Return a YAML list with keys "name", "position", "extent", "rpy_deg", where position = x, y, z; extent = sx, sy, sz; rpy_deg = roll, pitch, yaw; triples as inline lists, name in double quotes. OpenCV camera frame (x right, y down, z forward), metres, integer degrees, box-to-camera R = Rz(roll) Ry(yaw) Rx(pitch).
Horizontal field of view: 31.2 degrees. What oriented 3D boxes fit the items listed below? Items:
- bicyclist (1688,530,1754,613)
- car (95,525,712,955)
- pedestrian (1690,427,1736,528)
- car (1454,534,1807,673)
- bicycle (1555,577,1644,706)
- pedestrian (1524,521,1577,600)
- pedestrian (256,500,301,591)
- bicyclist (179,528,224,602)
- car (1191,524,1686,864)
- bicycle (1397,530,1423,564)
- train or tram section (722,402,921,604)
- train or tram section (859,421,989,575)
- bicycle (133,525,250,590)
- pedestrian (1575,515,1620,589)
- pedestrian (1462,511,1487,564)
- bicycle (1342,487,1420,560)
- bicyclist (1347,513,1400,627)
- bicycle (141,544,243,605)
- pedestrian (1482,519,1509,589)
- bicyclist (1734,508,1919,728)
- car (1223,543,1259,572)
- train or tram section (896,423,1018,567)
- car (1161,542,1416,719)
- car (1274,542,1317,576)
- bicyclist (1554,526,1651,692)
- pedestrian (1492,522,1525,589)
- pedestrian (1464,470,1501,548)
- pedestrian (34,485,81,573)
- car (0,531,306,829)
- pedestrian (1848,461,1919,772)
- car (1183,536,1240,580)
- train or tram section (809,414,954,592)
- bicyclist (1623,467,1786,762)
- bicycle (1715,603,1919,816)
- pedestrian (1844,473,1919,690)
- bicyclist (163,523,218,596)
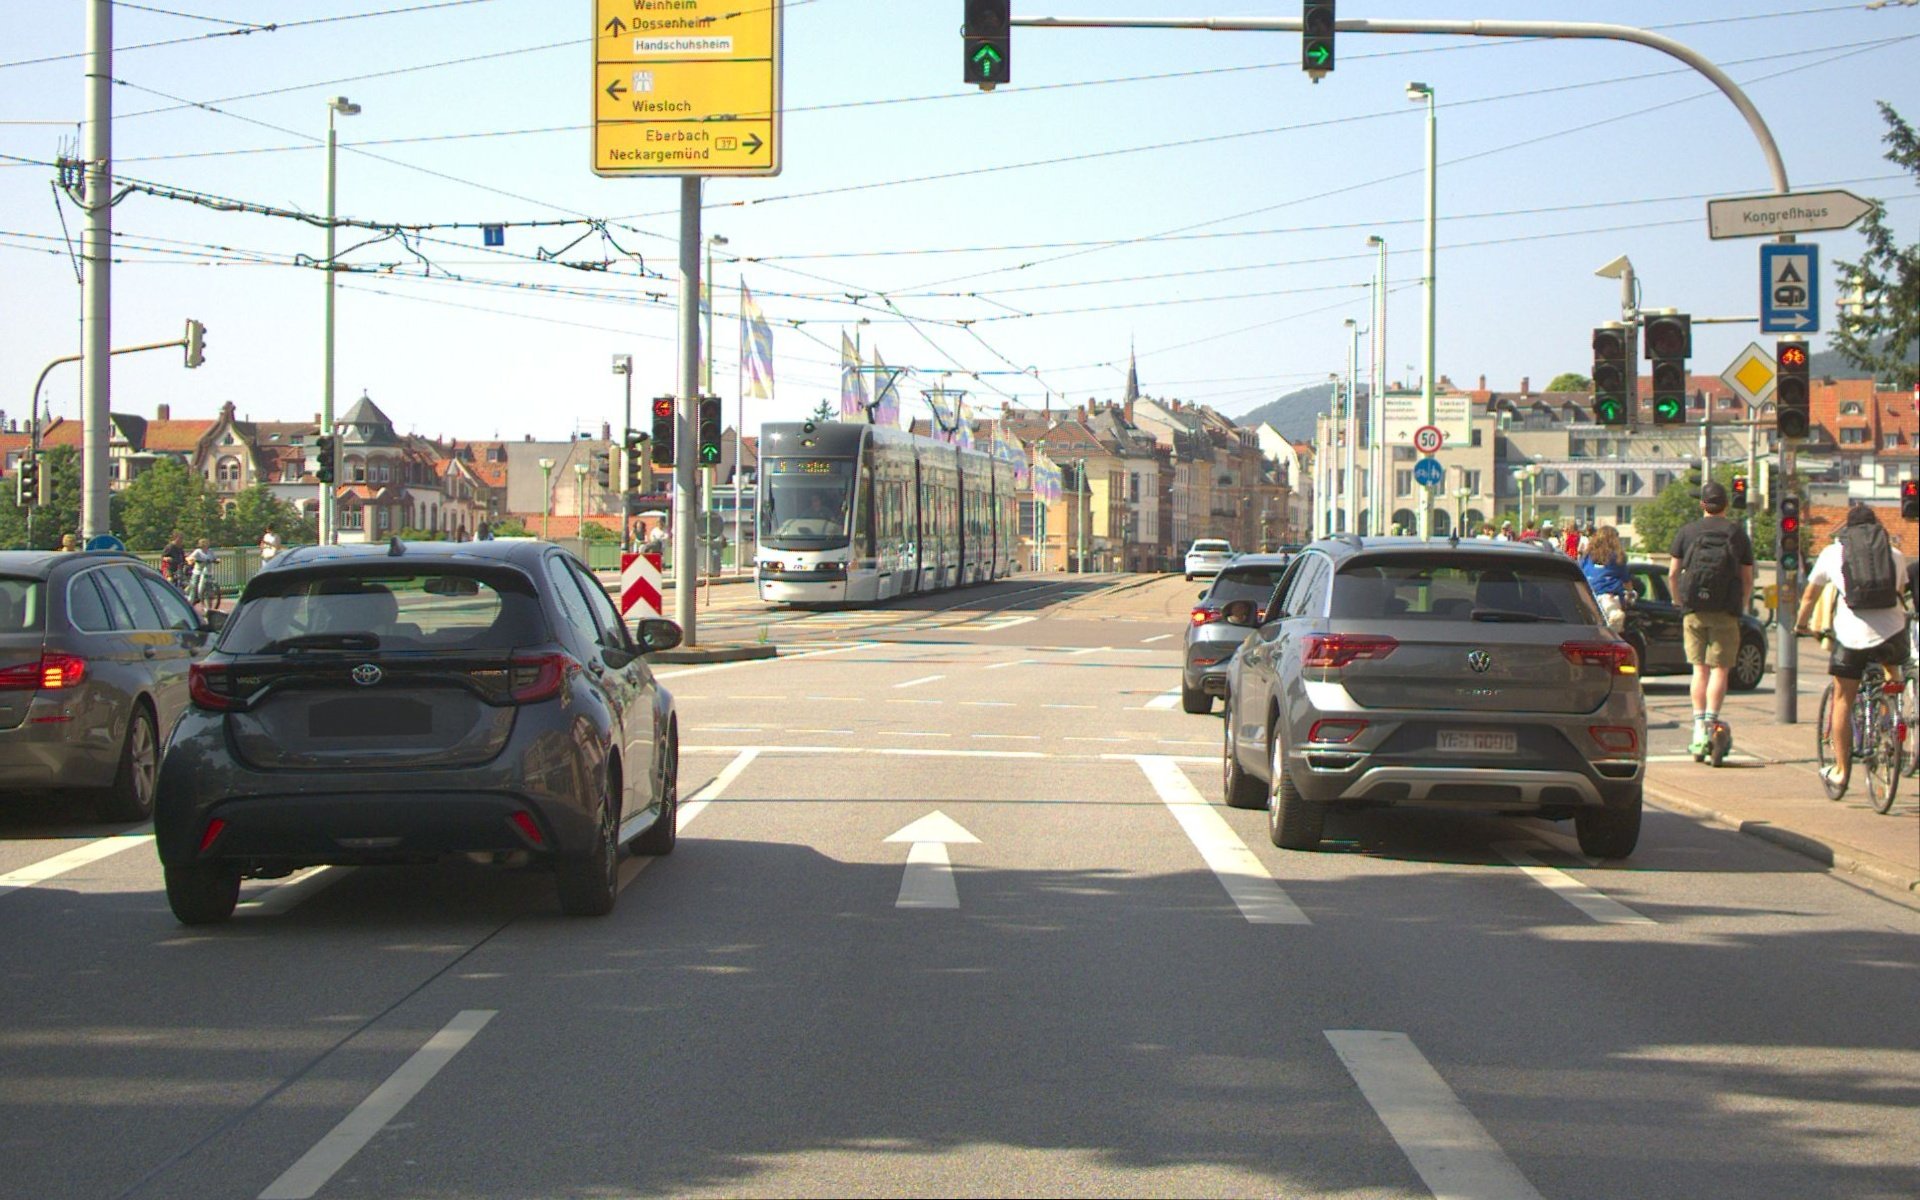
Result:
- name: "bicyclist"
  position: [13.891, -0.529, 62.799]
  extent: [1.080, 1.469, 0.800]
  rpy_deg: [2, 2, 9]
- name: "car"
  position: [-2.215, 0.484, 14.793]
  extent: [1.910, 1.535, 4.000]
  rpy_deg: [-2, 1, 1]
- name: "pedestrian"
  position: [13.912, -2.266, 63.532]
  extent: [0.774, 1.849, 0.644]
  rpy_deg: [0, 1, 8]
- name: "car"
  position: [7.656, -0.001, 39.093]
  extent: [3.989, 1.431, 1.999]
  rpy_deg: [-1, 3, -44]
- name: "bicycle"
  position: [6.119, 0.377, 32.960]
  extent: [0.615, 1.160, 2.249]
  rpy_deg: [1, 1, 5]
- name: "pedestrian"
  position: [13.222, -0.889, 77.013]
  extent: [0.985, 1.744, 0.930]
  rpy_deg: [1, 0, -1]
- name: "pedestrian"
  position: [-15.099, -1.213, 76.175]
  extent: [0.898, 2.007, 0.834]
  rpy_deg: [-1, 1, -17]
- name: "bicyclist"
  position: [-15.353, -0.716, 69.572]
  extent: [0.823, 1.488, 0.877]
  rpy_deg: [-1, 1, -17]
- name: "car"
  position: [2.355, 0.394, 17.938]
  extent: [1.929, 1.510, 3.993]
  rpy_deg: [2, 1, -1]
- name: "bicycle"
  position: [15.986, -1.880, 122.257]
  extent: [0.695, 1.189, 2.079]
  rpy_deg: [0, 0, 1]
- name: "train or tram section"
  position: [-2.646, -1.945, 68.741]
  extent: [2.538, 3.764, 9.167]
  rpy_deg: [0, 2, 7]
- name: "train or tram section"
  position: [-0.819, -2.572, 86.817]
  extent: [2.404, 3.668, 9.618]
  rpy_deg: [0, 2, 5]
- name: "bicycle"
  position: [-15.361, -0.856, 68.708]
  extent: [2.236, 1.274, 0.740]
  rpy_deg: [-1, 1, -17]
- name: "pedestrian"
  position: [14.229, -1.081, 76.747]
  extent: [0.799, 1.629, 0.950]
  rpy_deg: [1, 1, -1]
- name: "pedestrian"
  position: [17.064, -2.086, 113.994]
  extent: [0.654, 1.737, 0.978]
  rpy_deg: [1, 2, 0]
- name: "bicycle"
  position: [6.537, -1.192, 53.536]
  extent: [0.792, 1.092, 3.745]
  rpy_deg: [0, 1, 1]
- name: "bicyclist"
  position: [6.337, -0.464, 52.712]
  extent: [0.673, 1.738, 1.150]
  rpy_deg: [0, 1, 1]
- name: "bicycle"
  position: [-15.532, -0.520, 69.517]
  extent: [1.968, 1.205, 0.640]
  rpy_deg: [-1, 1, -17]
- name: "pedestrian"
  position: [13.719, -1.175, 88.098]
  extent: [0.549, 1.793, 0.646]
  rpy_deg: [1, 0, -1]
- name: "bicyclist"
  position: [4.968, 0.090, 19.514]
  extent: [0.920, 1.215, 0.972]
  rpy_deg: [0, 1, -1]
- name: "car"
  position: [16.799, -2.522, 205.821]
  extent: [1.994, 1.711, 4.000]
  rpy_deg: [1, 1, 3]
- name: "train or tram section"
  position: [0.013, -2.932, 96.358]
  extent: [2.470, 3.764, 11.849]
  rpy_deg: [0, 2, 5]
- name: "car"
  position: [2.907, 0.226, 31.203]
  extent: [1.993, 1.481, 4.000]
  rpy_deg: [0, 1, 1]
- name: "car"
  position: [15.149, -1.841, 155.233]
  extent: [1.804, 1.464, 3.999]
  rpy_deg: [-1, 0, 7]
- name: "bicyclist"
  position: [6.121, 0.070, 32.786]
  extent: [0.775, 1.548, 1.059]
  rpy_deg: [1, 1, 4]
- name: "pedestrian"
  position: [14.161, -1.142, 88.818]
  extent: [0.695, 1.710, 0.732]
  rpy_deg: [1, 0, -1]
- name: "pedestrian"
  position: [13.688, -2.386, 90.110]
  extent: [0.803, 2.007, 0.954]
  rpy_deg: [1, 0, -1]
- name: "pedestrian"
  position: [-17.509, -1.377, 66.712]
  extent: [0.834, 1.691, 1.098]
  rpy_deg: [0, 1, -17]
- name: "car"
  position: [-5.129, 0.367, 19.706]
  extent: [1.748, 1.481, 4.748]
  rpy_deg: [-1, 1, 1]
- name: "pedestrian"
  position: [6.405, 0.086, 22.671]
  extent: [0.811, 2.007, 0.815]
  rpy_deg: [-2, 1, -1]
- name: "car"
  position: [8.674, -1.432, 118.862]
  extent: [1.804, 1.464, 4.000]
  rpy_deg: [-1, 0, 2]
- name: "train or tram section"
  position: [-1.680, -2.198, 77.614]
  extent: [2.537, 3.764, 9.169]
  rpy_deg: [0, 2, 3]
- name: "bicyclist"
  position: [5.136, 0.090, 23.771]
  extent: [0.941, 2.007, 0.830]
  rpy_deg: [0, 1, -1]
- name: "bicycle"
  position: [4.961, 0.590, 19.640]
  extent: [0.778, 1.098, 2.139]
  rpy_deg: [0, 1, -1]
- name: "pedestrian"
  position: [7.704, -0.150, 28.115]
  extent: [0.705, 1.747, 0.903]
  rpy_deg: [0, 0, -1]
- name: "bicyclist"
  position: [-15.389, -0.821, 68.742]
  extent: [1.003, 1.444, 0.816]
  rpy_deg: [-1, 1, -17]
